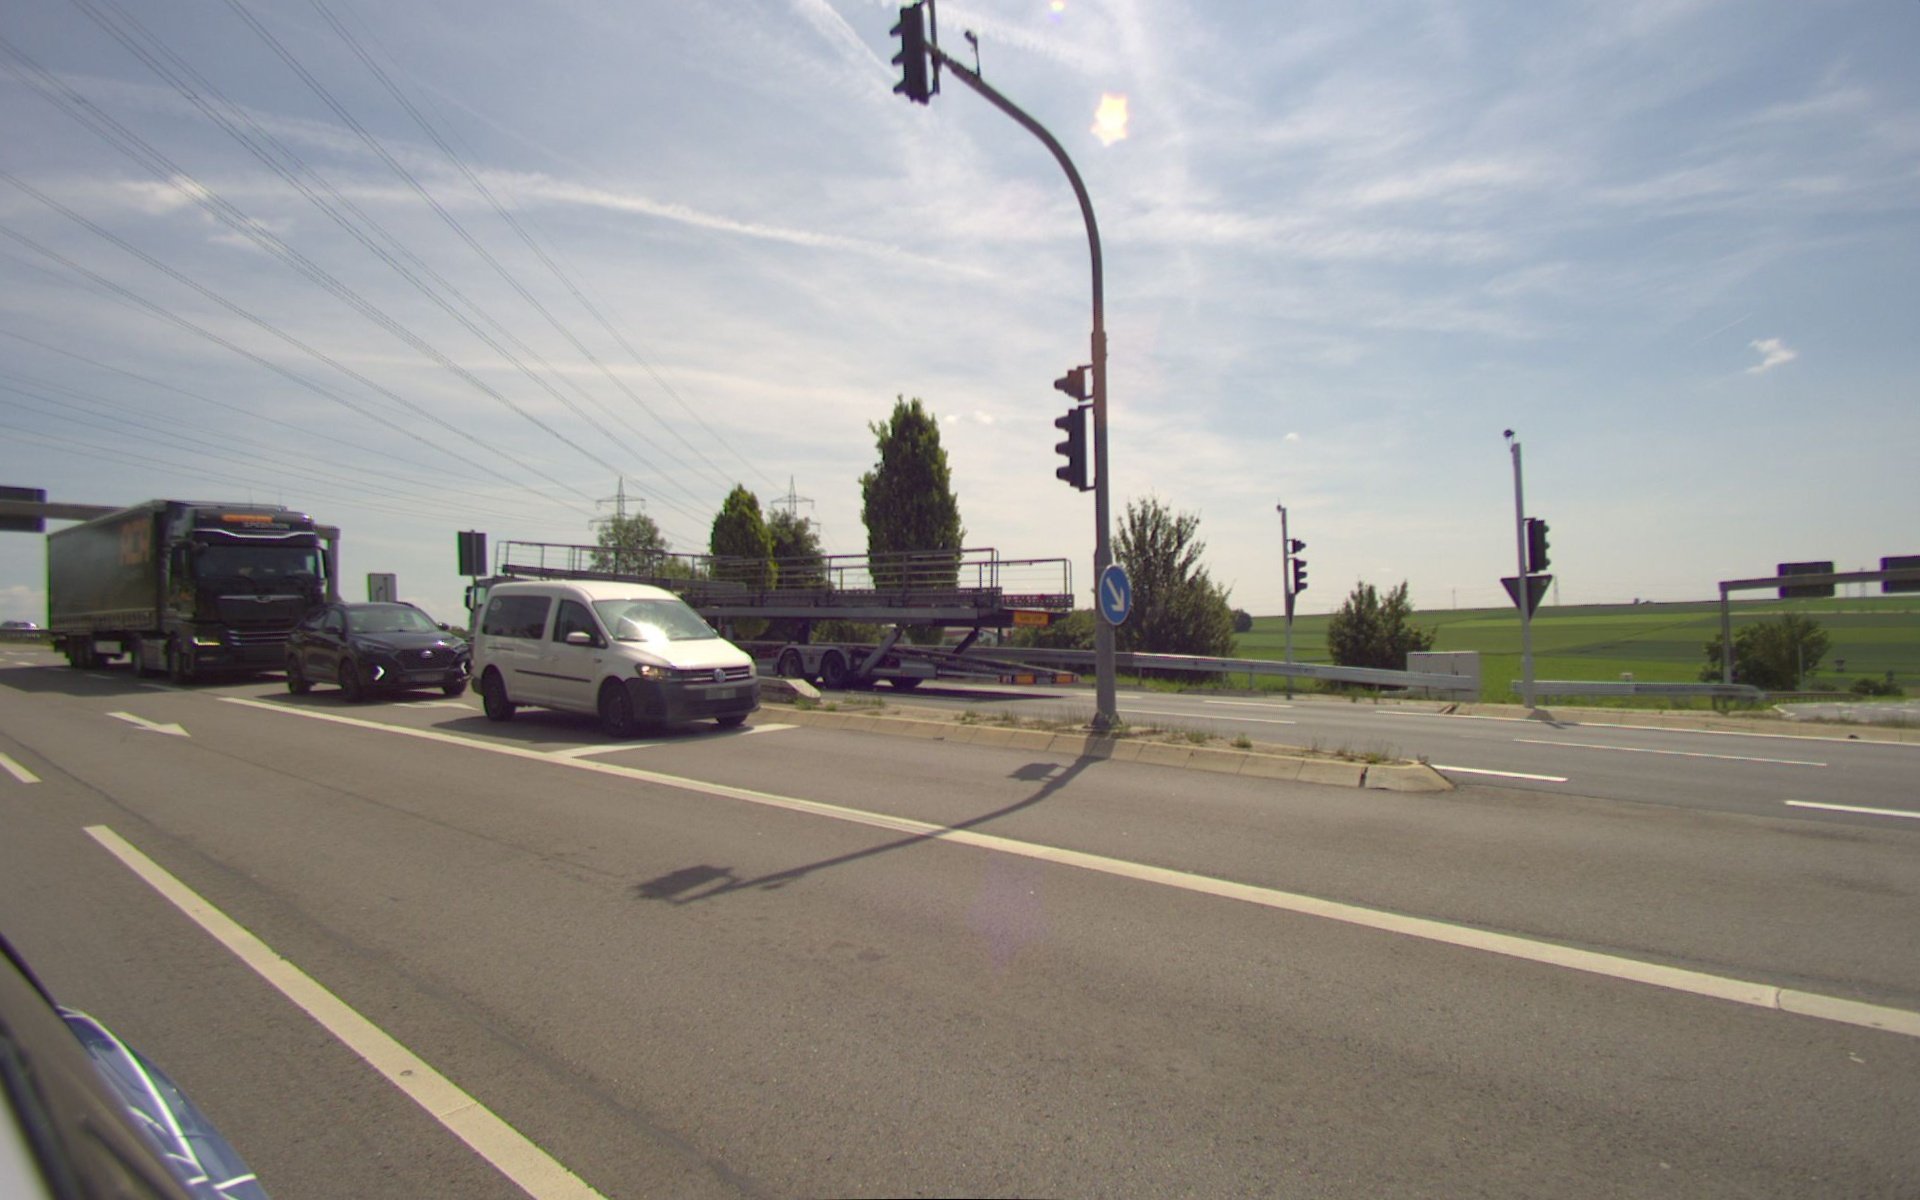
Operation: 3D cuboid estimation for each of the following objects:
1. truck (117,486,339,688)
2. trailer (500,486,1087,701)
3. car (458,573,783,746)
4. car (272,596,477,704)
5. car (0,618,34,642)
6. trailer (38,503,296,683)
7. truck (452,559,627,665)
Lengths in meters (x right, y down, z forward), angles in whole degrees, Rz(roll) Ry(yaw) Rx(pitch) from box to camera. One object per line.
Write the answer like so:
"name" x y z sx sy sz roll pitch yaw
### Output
"truck" -16.912 -0.240 23.255 5.966 4.043 2.755 -1 0 40
"trailer" -5.780 -0.056 25.370 19.790 3.792 2.611 0 -1 41
"car" -4.466 0.654 12.883 4.749 1.812 1.749 -1 0 41
"car" -10.438 0.814 17.909 4.346 1.670 1.836 -1 0 41
"car" -63.012 1.966 67.060 4.319 1.516 1.719 -1 -3 39
"trailer" -22.048 -0.087 27.593 13.775 3.943 2.755 -1 0 40
"truck" -13.335 0.369 31.885 5.987 3.036 2.770 0 -1 42
